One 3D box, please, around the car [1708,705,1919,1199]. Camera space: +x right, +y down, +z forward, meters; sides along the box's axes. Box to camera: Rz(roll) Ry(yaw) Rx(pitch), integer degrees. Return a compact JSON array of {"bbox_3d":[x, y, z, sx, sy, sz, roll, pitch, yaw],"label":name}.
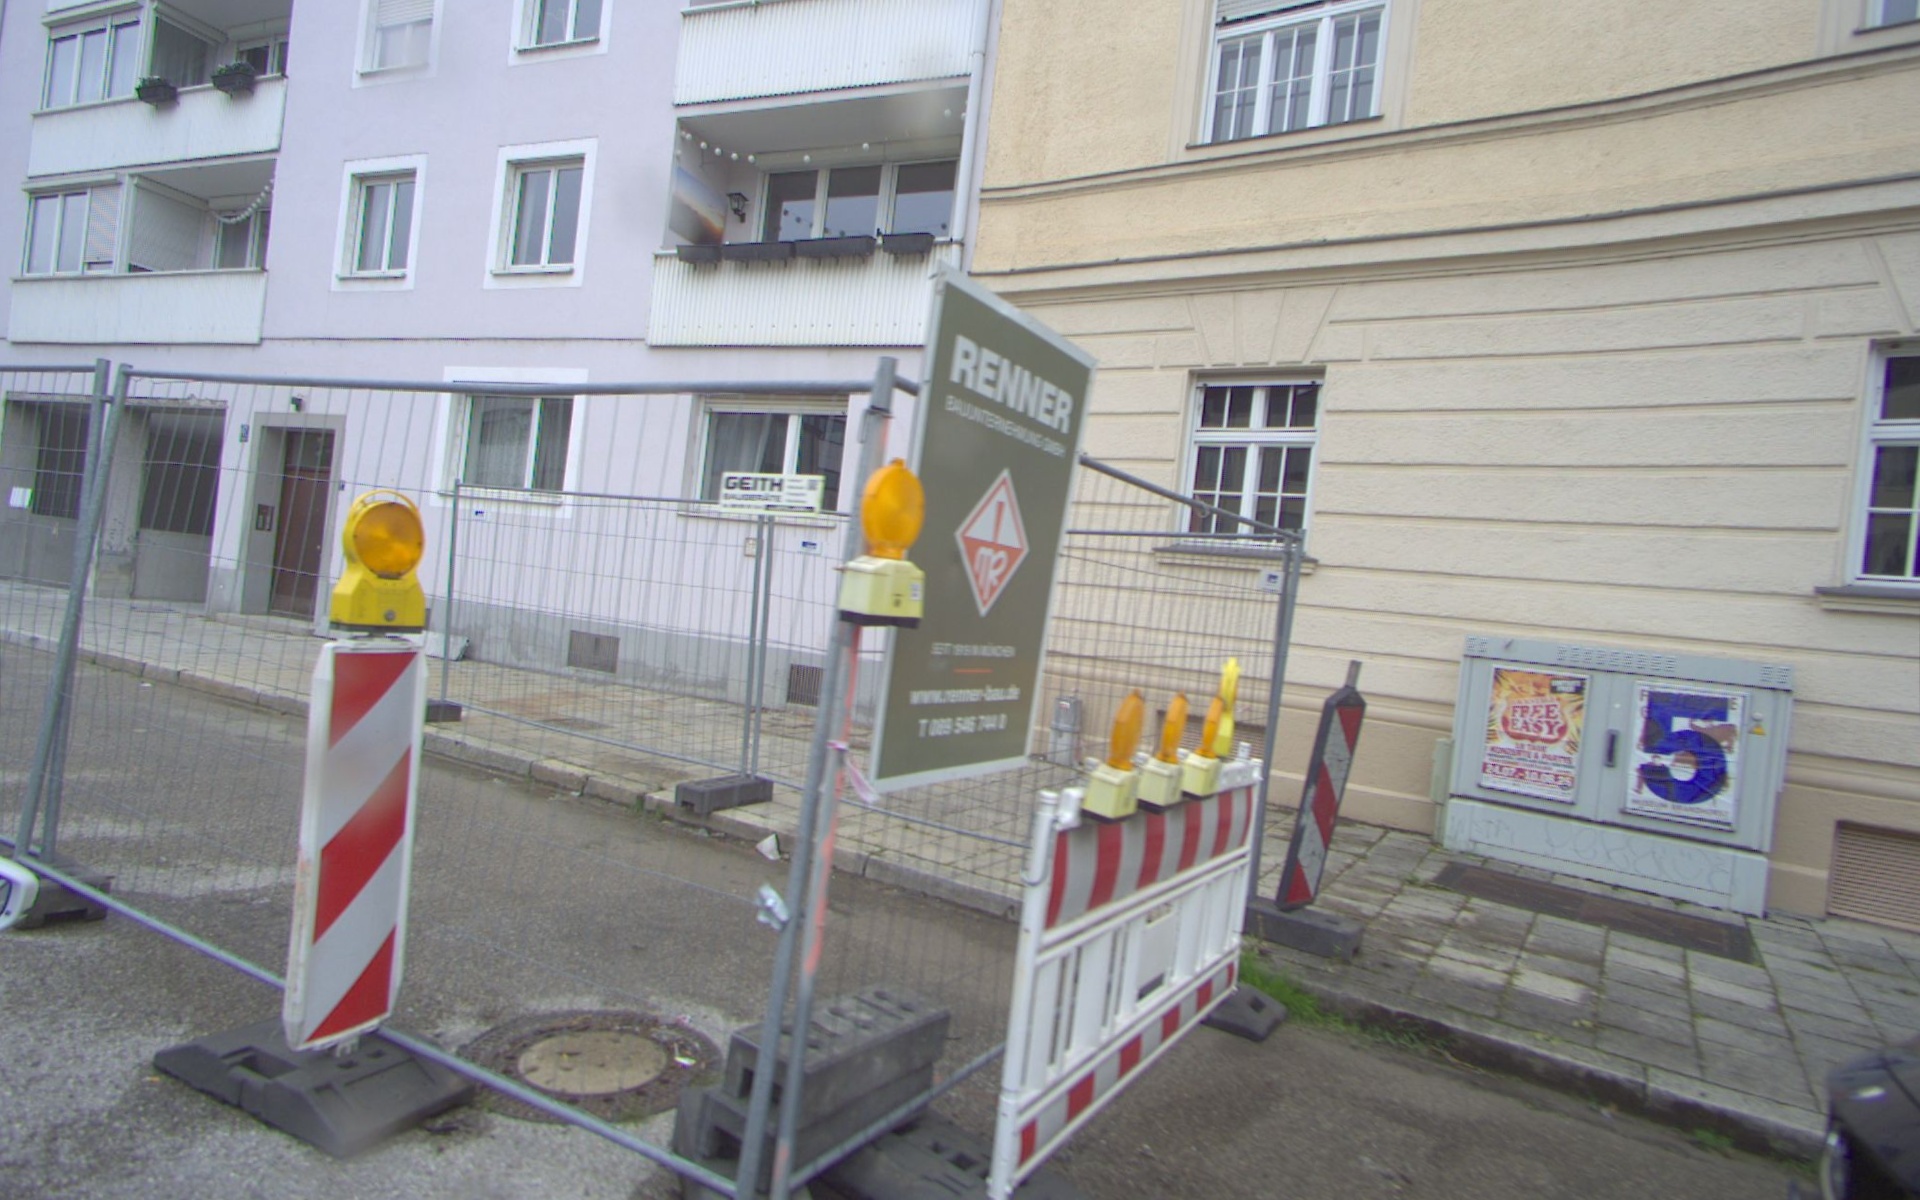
[{"bbox_3d":[3.958,1.246,1.061,4.868,1.495,1.910,7,-1,35],"label":"car"}]
